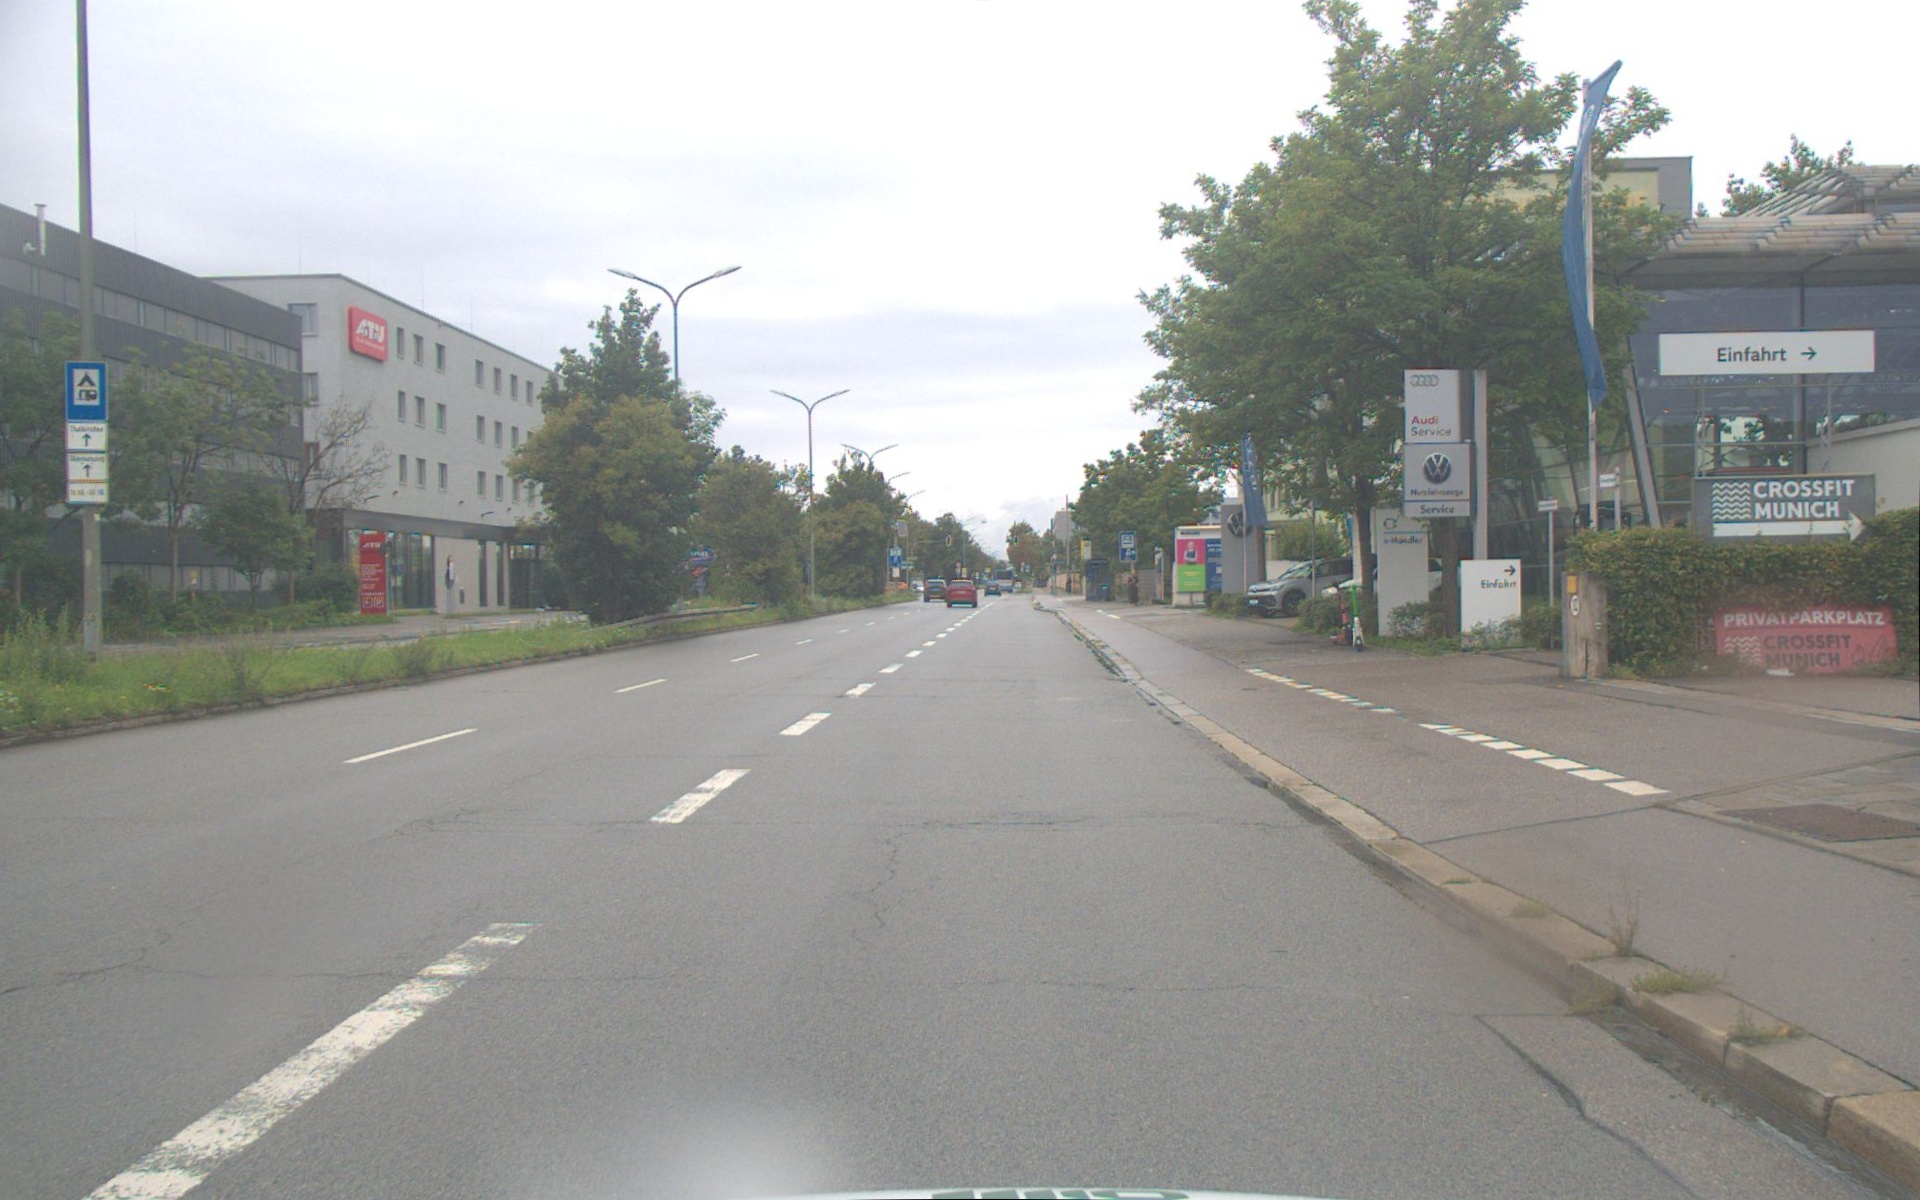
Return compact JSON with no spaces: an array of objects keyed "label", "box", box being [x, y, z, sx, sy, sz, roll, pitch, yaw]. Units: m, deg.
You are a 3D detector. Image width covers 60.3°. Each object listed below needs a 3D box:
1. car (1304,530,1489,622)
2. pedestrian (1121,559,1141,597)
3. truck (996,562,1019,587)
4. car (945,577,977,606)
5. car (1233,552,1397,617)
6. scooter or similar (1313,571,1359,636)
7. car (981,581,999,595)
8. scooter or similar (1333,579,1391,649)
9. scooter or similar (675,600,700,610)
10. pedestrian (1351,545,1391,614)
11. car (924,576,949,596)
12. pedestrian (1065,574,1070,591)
[{"label":"car","box":[11.092,-0.591,42.000,4.164,2.049,1.961,-3,-1,26]},{"label":"pedestrian","box":[8.233,-1.059,79.711,0.743,1.758,0.895,-4,0,-2]},{"label":"truck","box":[6.547,-3.546,229.008,2.908,3.343,7.916,-1,0,0]},{"label":"car","box":[0.090,-0.491,98.992,1.823,1.646,4.001,0,0,2]},{"label":"car","box":[10.903,-0.476,50.854,4.520,1.736,1.996,-3,-1,-19]},{"label":"scooter or similar","box":[7.389,0.055,32.571,0.486,1.225,1.430,-4,1,-1]},{"label":"car","box":[3.162,-1.306,175.355,1.766,1.457,4.000,-1,0,0]},{"label":"scooter or similar","box":[7.357,0.254,30.310,0.486,1.225,1.427,-4,0,-8]},{"label":"scooter or similar","box":[-19.451,0.371,118.104,1.438,0.595,2.320,-2,-3,0]},{"label":"pedestrian","box":[10.933,-0.546,44.002,0.800,1.807,0.705,-1,0,-43]},{"label":"car","box":[-1.778,-1.085,126.136,1.766,1.457,4.000,-1,0,0]},{"label":"pedestrian","box":[10.522,-1.701,161.664,0.473,1.664,0.590,-1,0,1]}]
